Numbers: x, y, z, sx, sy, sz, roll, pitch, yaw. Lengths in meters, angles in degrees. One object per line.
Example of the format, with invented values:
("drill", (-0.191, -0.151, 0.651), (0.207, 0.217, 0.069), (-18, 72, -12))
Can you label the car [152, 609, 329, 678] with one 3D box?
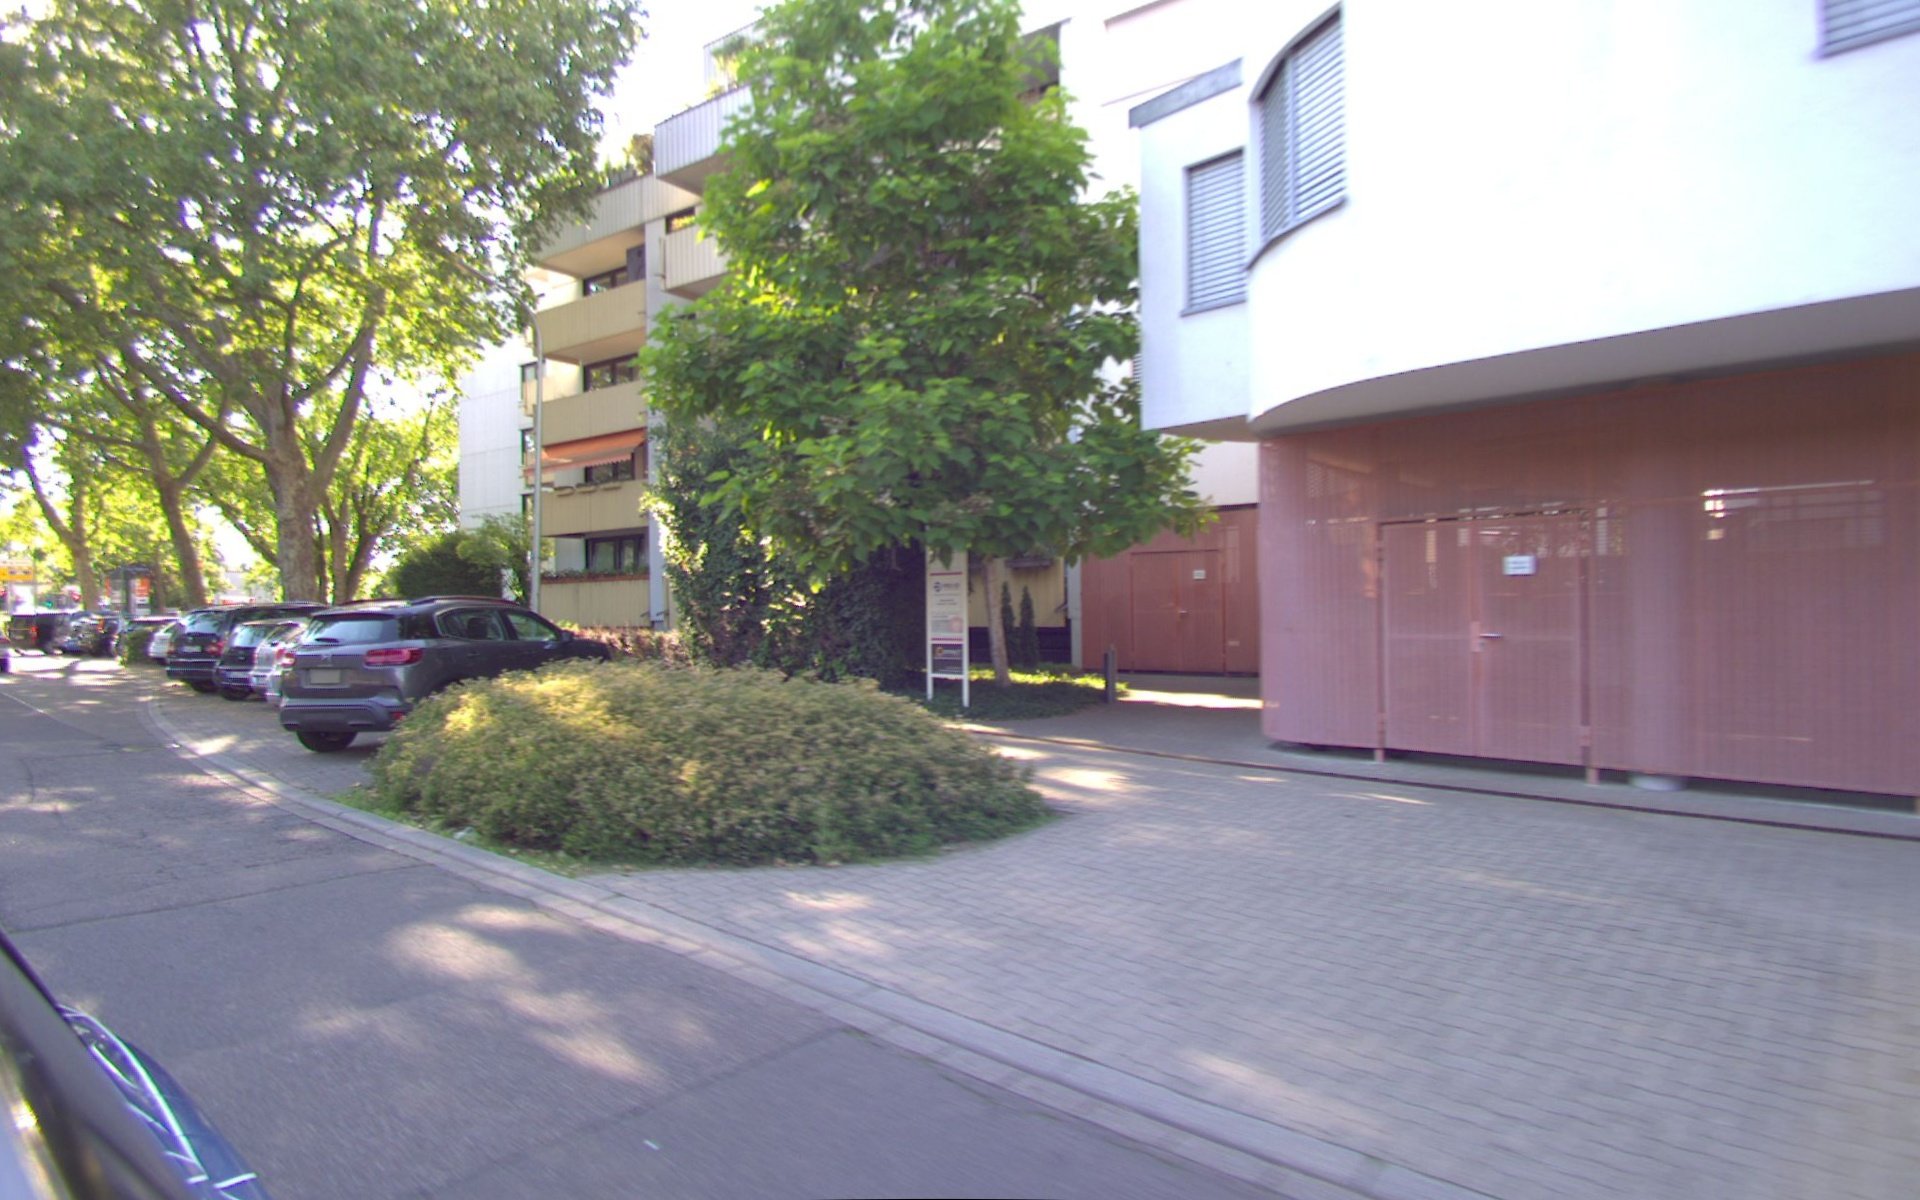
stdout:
("car", (-19.628, 1.141, 27.771), (1.640, 1.674, 3.622), (-1, 1, 23))

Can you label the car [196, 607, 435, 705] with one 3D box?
("car", (-12.076, 0.988, 19.239), (1.685, 1.572, 3.631), (-1, 1, 16))

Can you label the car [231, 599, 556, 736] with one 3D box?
("car", (-8.107, 0.860, 14.974), (1.762, 1.652, 4.117), (-1, 1, 17))

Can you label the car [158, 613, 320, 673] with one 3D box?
("car", (-21.457, 1.244, 30.275), (1.640, 1.572, 3.622), (-1, 1, 23))

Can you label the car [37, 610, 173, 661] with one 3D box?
("car", (-36.081, 1.459, 42.816), (1.823, 1.896, 3.966), (-1, 1, 25))

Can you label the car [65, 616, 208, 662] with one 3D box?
("car", (-32.060, 1.489, 39.530), (1.789, 1.637, 3.964), (-1, 0, 27))

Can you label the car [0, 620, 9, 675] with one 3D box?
("car", (-29.237, 1.353, 29.597), (4.623, 1.548, 1.878), (-1, -3, 45))

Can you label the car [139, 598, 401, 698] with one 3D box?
("car", (-14.220, 0.904, 21.186), (1.891, 1.788, 4.244), (-1, 1, 18))

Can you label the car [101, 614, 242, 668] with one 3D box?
("car", (-27.362, 1.391, 35.261), (1.635, 1.674, 3.632), (-1, 1, 15))

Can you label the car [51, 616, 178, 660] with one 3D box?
("car", (-34.025, 1.498, 40.835), (1.640, 1.572, 3.572), (-1, 1, 23))

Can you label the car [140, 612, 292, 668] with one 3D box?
("car", (-23.512, 1.229, 32.129), (1.693, 1.572, 3.633), (-1, 1, 14))

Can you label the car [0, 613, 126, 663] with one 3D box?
("car", (-38.707, 1.596, 43.616), (1.701, 1.900, 3.981), (-1, 1, 15))

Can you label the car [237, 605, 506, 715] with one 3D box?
("car", (-9.915, 0.922, 17.314), (1.693, 1.572, 3.613), (-1, 1, 30))

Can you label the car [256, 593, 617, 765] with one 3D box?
("car", (-5.999, 0.793, 12.185), (1.683, 1.674, 3.943), (-1, 1, 14))
